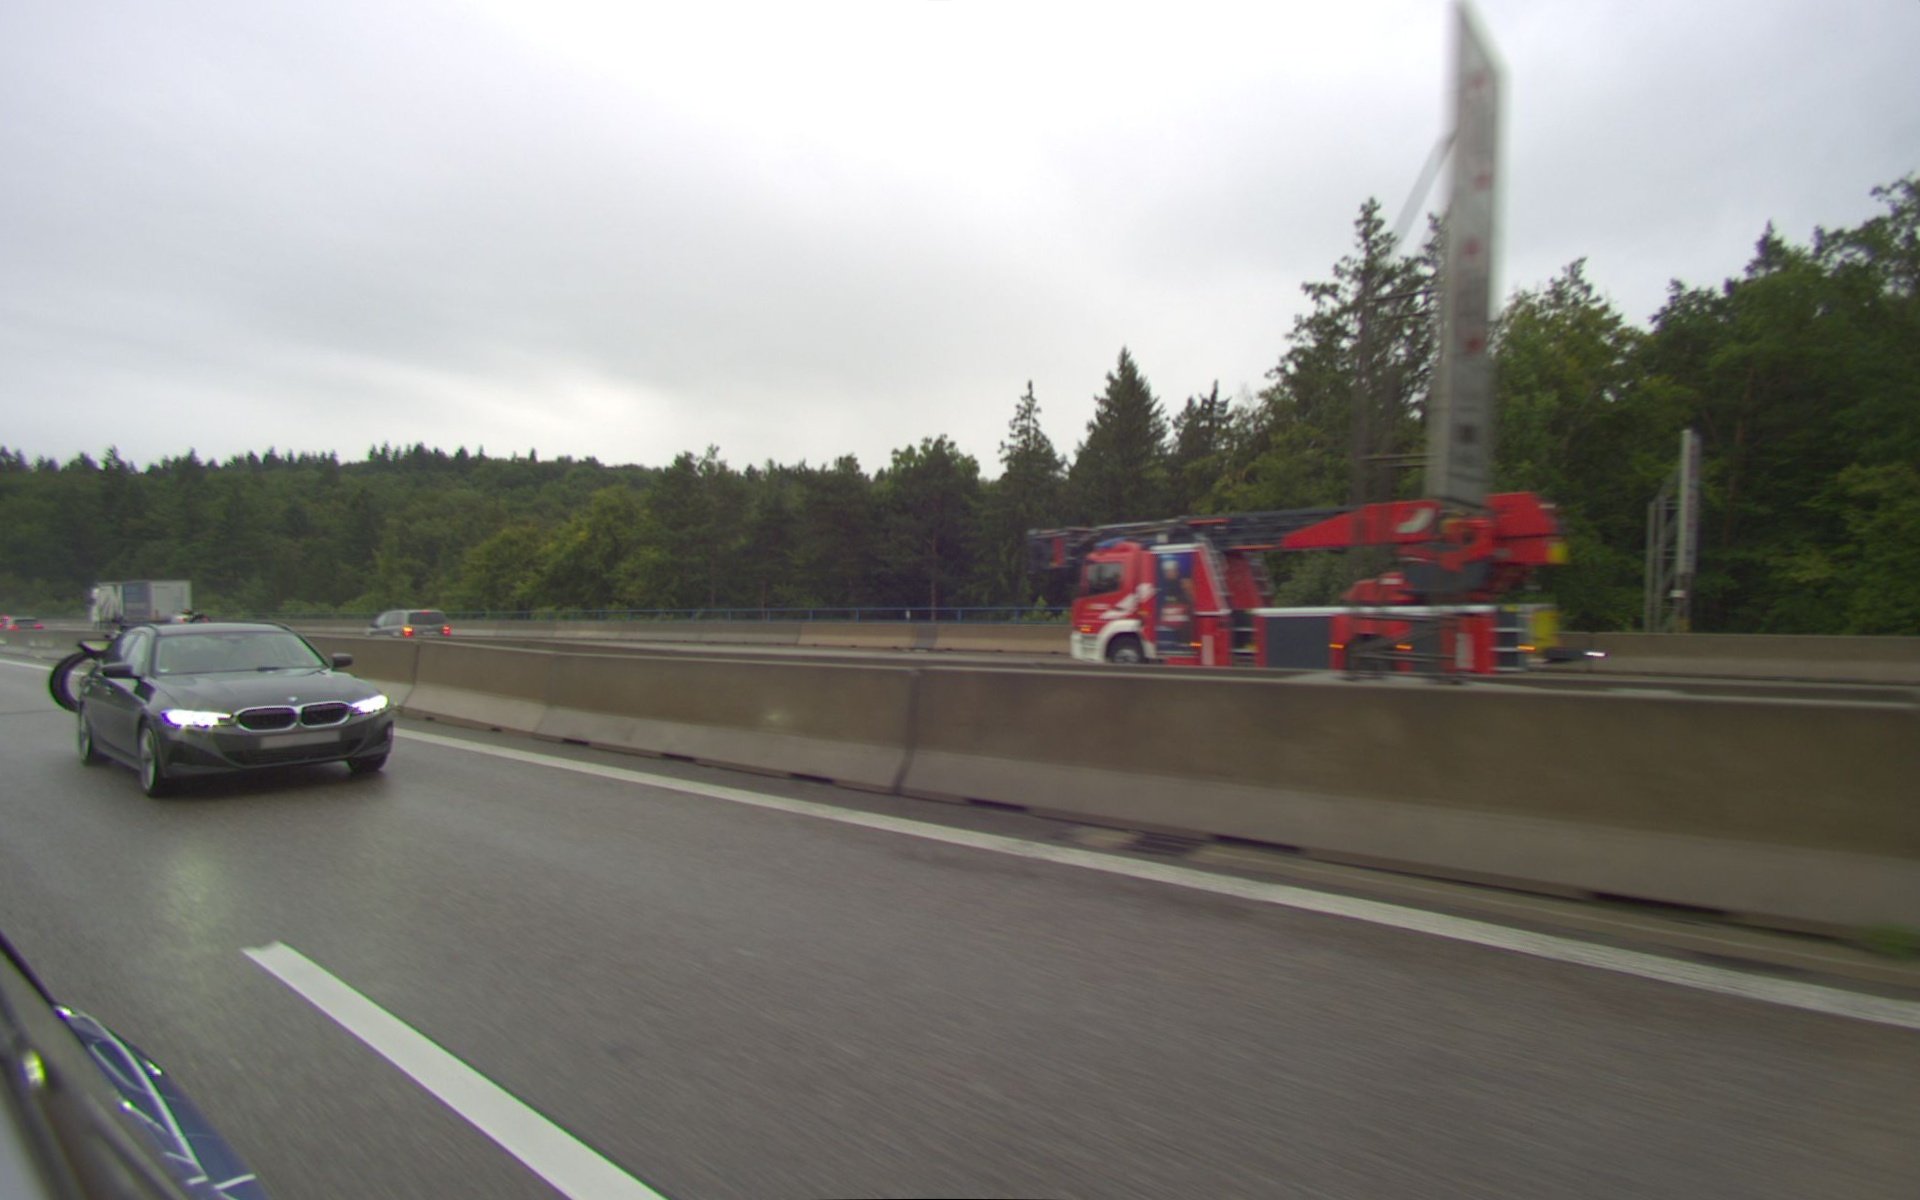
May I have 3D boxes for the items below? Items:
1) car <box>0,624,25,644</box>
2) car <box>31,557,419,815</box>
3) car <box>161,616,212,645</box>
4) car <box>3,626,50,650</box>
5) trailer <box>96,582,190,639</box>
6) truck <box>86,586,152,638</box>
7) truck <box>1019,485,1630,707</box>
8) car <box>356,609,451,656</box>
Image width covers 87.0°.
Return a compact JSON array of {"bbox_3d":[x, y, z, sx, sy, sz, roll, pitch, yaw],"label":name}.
[{"bbox_3d":[-80.467,2.870,85.496,3.884,1.560,1.765,-1,0,41],"label":"car"},{"bbox_3d":[-7.828,0.700,10.429,6.159,1.959,1.888,-1,0,41],"label":"car"},{"bbox_3d":[-44.474,1.732,58.169,3.636,1.532,1.640,-1,0,41],"label":"car"},{"bbox_3d":[-65.184,2.627,70.628,4.774,1.560,1.866,-1,0,41],"label":"car"},{"bbox_3d":[-62.780,0.839,77.604,13.775,4.063,2.917,-1,0,40],"label":"trailer"},{"bbox_3d":[-68.232,0.944,82.058,6.375,4.063,2.917,-1,0,40],"label":"truck"},{"bbox_3d":[6.051,0.031,19.028,10.657,3.198,2.407,-1,-1,41],"label":"truck"},{"bbox_3d":[-20.414,1.160,37.084,4.265,1.590,1.687,-1,-1,41],"label":"car"}]
